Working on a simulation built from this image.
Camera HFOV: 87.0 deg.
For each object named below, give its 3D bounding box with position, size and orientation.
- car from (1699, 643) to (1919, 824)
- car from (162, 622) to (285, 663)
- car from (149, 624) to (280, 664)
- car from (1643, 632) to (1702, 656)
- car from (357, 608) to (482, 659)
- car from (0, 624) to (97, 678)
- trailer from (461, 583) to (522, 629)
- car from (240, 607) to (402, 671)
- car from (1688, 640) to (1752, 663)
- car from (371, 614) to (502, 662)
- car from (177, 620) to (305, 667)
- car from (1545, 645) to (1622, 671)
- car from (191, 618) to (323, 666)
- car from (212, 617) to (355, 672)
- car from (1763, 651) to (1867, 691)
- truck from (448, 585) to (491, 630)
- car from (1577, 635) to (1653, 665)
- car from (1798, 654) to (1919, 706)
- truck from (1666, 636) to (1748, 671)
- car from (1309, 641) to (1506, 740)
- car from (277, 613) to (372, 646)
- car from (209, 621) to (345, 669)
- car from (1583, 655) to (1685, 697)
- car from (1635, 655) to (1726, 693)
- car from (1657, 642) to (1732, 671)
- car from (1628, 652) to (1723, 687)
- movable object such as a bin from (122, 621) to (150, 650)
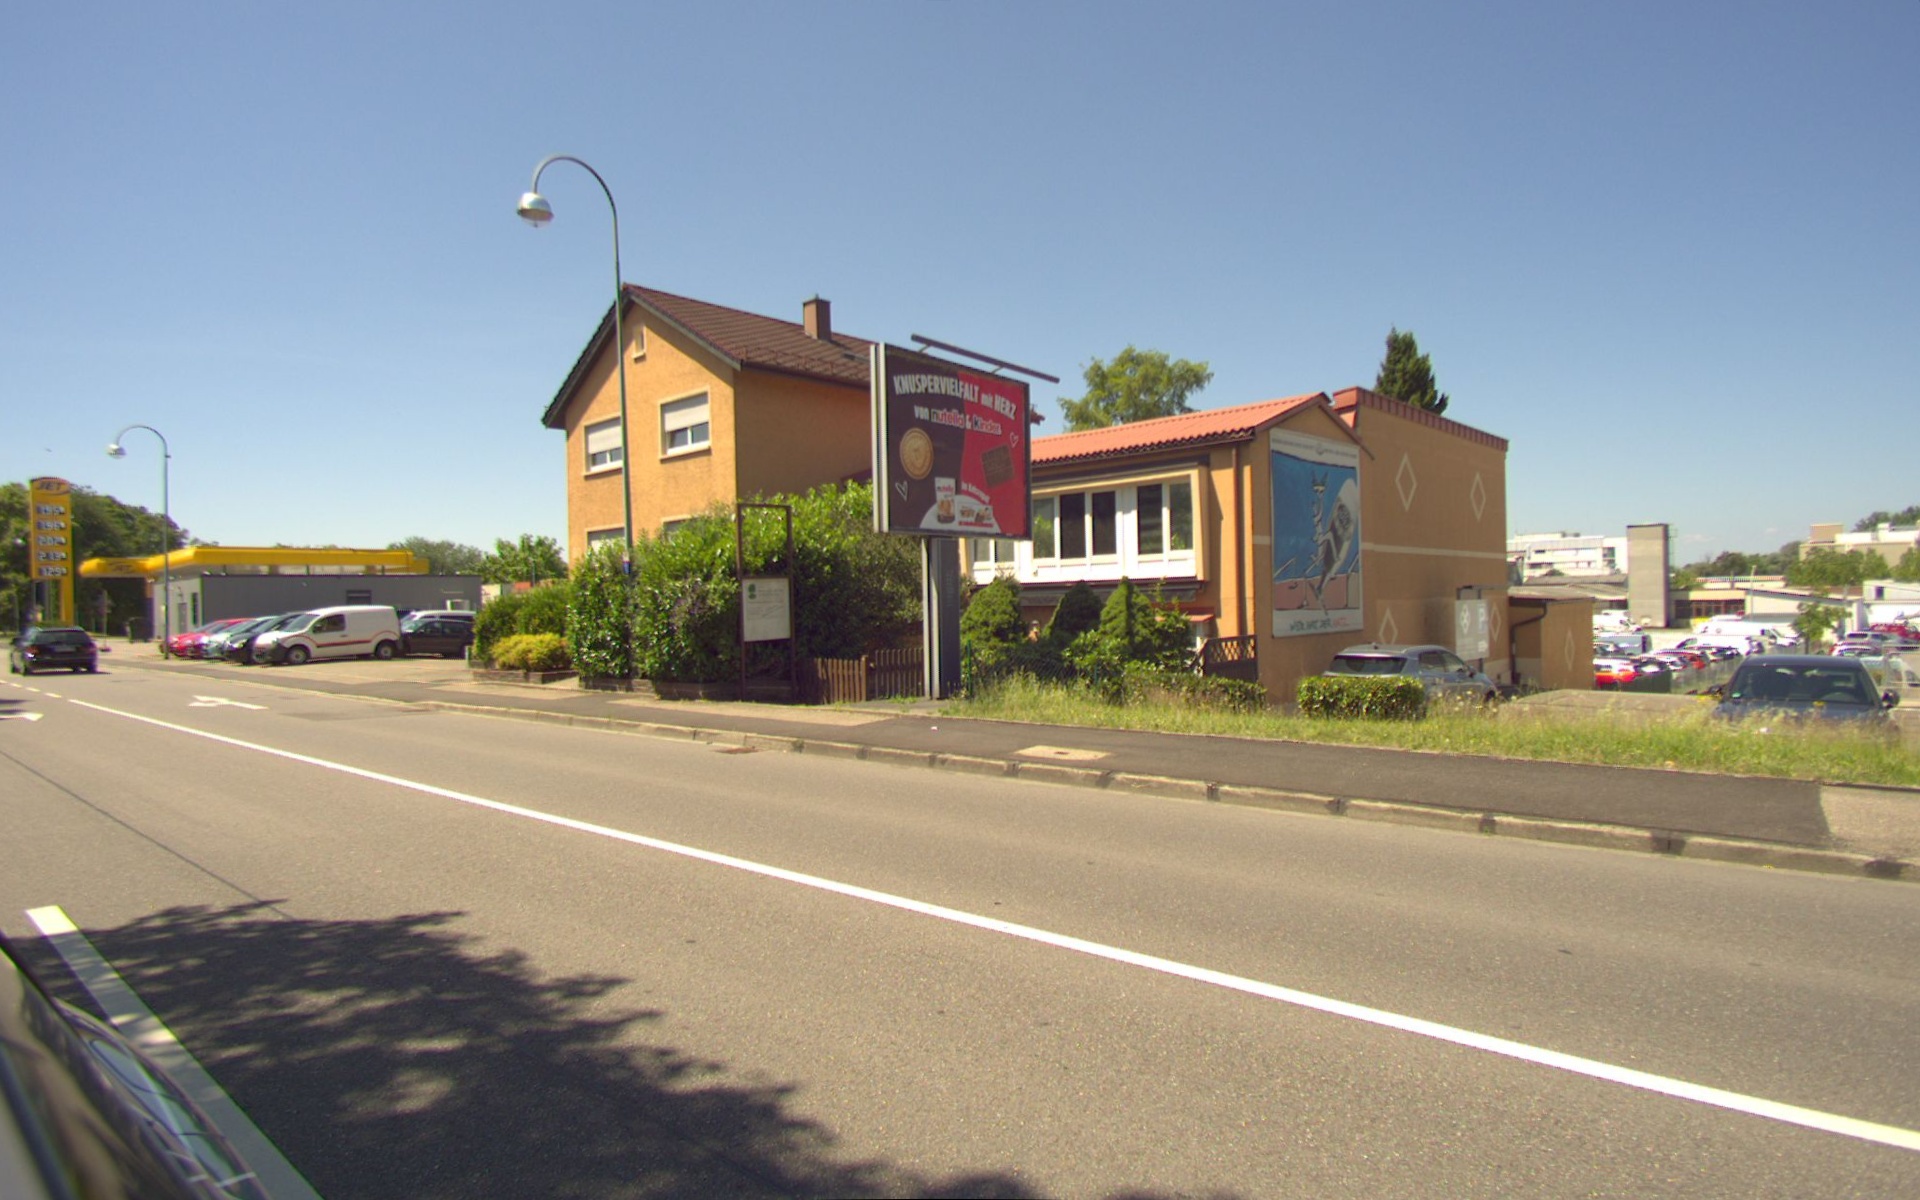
[{"bbox_3d":[10.826,1.495,12.814,1.895,1.699,4.284,-1,0,43],"label":"car"},{"bbox_3d":[-29.445,1.658,40.529,1.890,1.468,3.628,-1,0,39],"label":"car"},{"bbox_3d":[-30.910,1.788,42.032,1.826,1.455,4.083,-1,0,40],"label":"car"},{"bbox_3d":[49.218,3.009,69.928,3.125,1.545,1.663,-1,0,42],"label":"car"},{"bbox_3d":[-21.042,1.280,39.515,1.998,1.875,3.863,-2,-1,39],"label":"car"},{"bbox_3d":[-28.242,1.551,31.315,4.275,1.506,1.692,-2,-1,41],"label":"car"},{"bbox_3d":[-34.401,0.483,74.261,5.912,3.244,1.845,-2,-1,42],"label":"trailer"},{"bbox_3d":[-20.888,1.223,33.221,1.996,1.912,4.057,-1,0,36],"label":"car"},{"bbox_3d":[45.820,3.083,61.036,3.043,1.309,1.288,-1,0,41],"label":"car"},{"bbox_3d":[-19.607,1.397,38.023,1.828,1.580,3.948,-2,0,39],"label":"car"},{"bbox_3d":[-27.509,1.611,38.797,1.880,1.617,3.628,-1,0,39],"label":"car"},{"bbox_3d":[40.583,3.735,65.929,3.999,1.486,1.732,-1,0,42],"label":"car"},{"bbox_3d":[-25.872,1.497,37.340,1.920,1.593,3.628,-1,0,39],"label":"car"},{"bbox_3d":[-22.802,1.444,34.199,1.920,1.685,3.628,-1,0,39],"label":"car"},{"bbox_3d":[42.471,3.508,50.333,3.812,1.806,1.755,-2,-1,41],"label":"car"},{"bbox_3d":[-37.262,0.585,76.842,3.188,3.267,1.826,-3,-1,42],"label":"truck"},{"bbox_3d":[43.439,3.292,67.160,3.999,1.829,1.972,-2,-1,42],"label":"car"},{"bbox_3d":[37.096,3.266,41.753,3.726,1.954,1.881,-1,-1,-10],"label":"car"},{"bbox_3d":[46.839,3.327,63.478,3.982,1.992,1.663,-1,0,42],"label":"truck"},{"bbox_3d":[8.040,1.512,18.029,3.979,1.462,1.782,0,-1,-43],"label":"car"},{"bbox_3d":[-33.562,1.531,53.518,1.755,1.596,3.942,-1,0,44],"label":"car"},{"bbox_3d":[-24.245,1.550,36.001,1.920,1.543,3.628,-1,0,39],"label":"car"},{"bbox_3d":[32.085,3.590,48.220,3.816,1.740,1.728,-1,0,42],"label":"car"},{"bbox_3d":[35.517,3.616,49.911,3.466,1.604,1.702,-1,0,42],"label":"car"},{"bbox_3d":[41.703,3.179,57.475,3.307,1.476,1.486,-1,0,41],"label":"car"},{"bbox_3d":[38.314,3.668,54.227,3.999,1.648,1.824,-1,-1,42],"label":"car"},{"bbox_3d":[-47.653,2.066,58.510,1.427,1.528,0.942,-3,2,42],"label":"movable object such as a bin"}]
